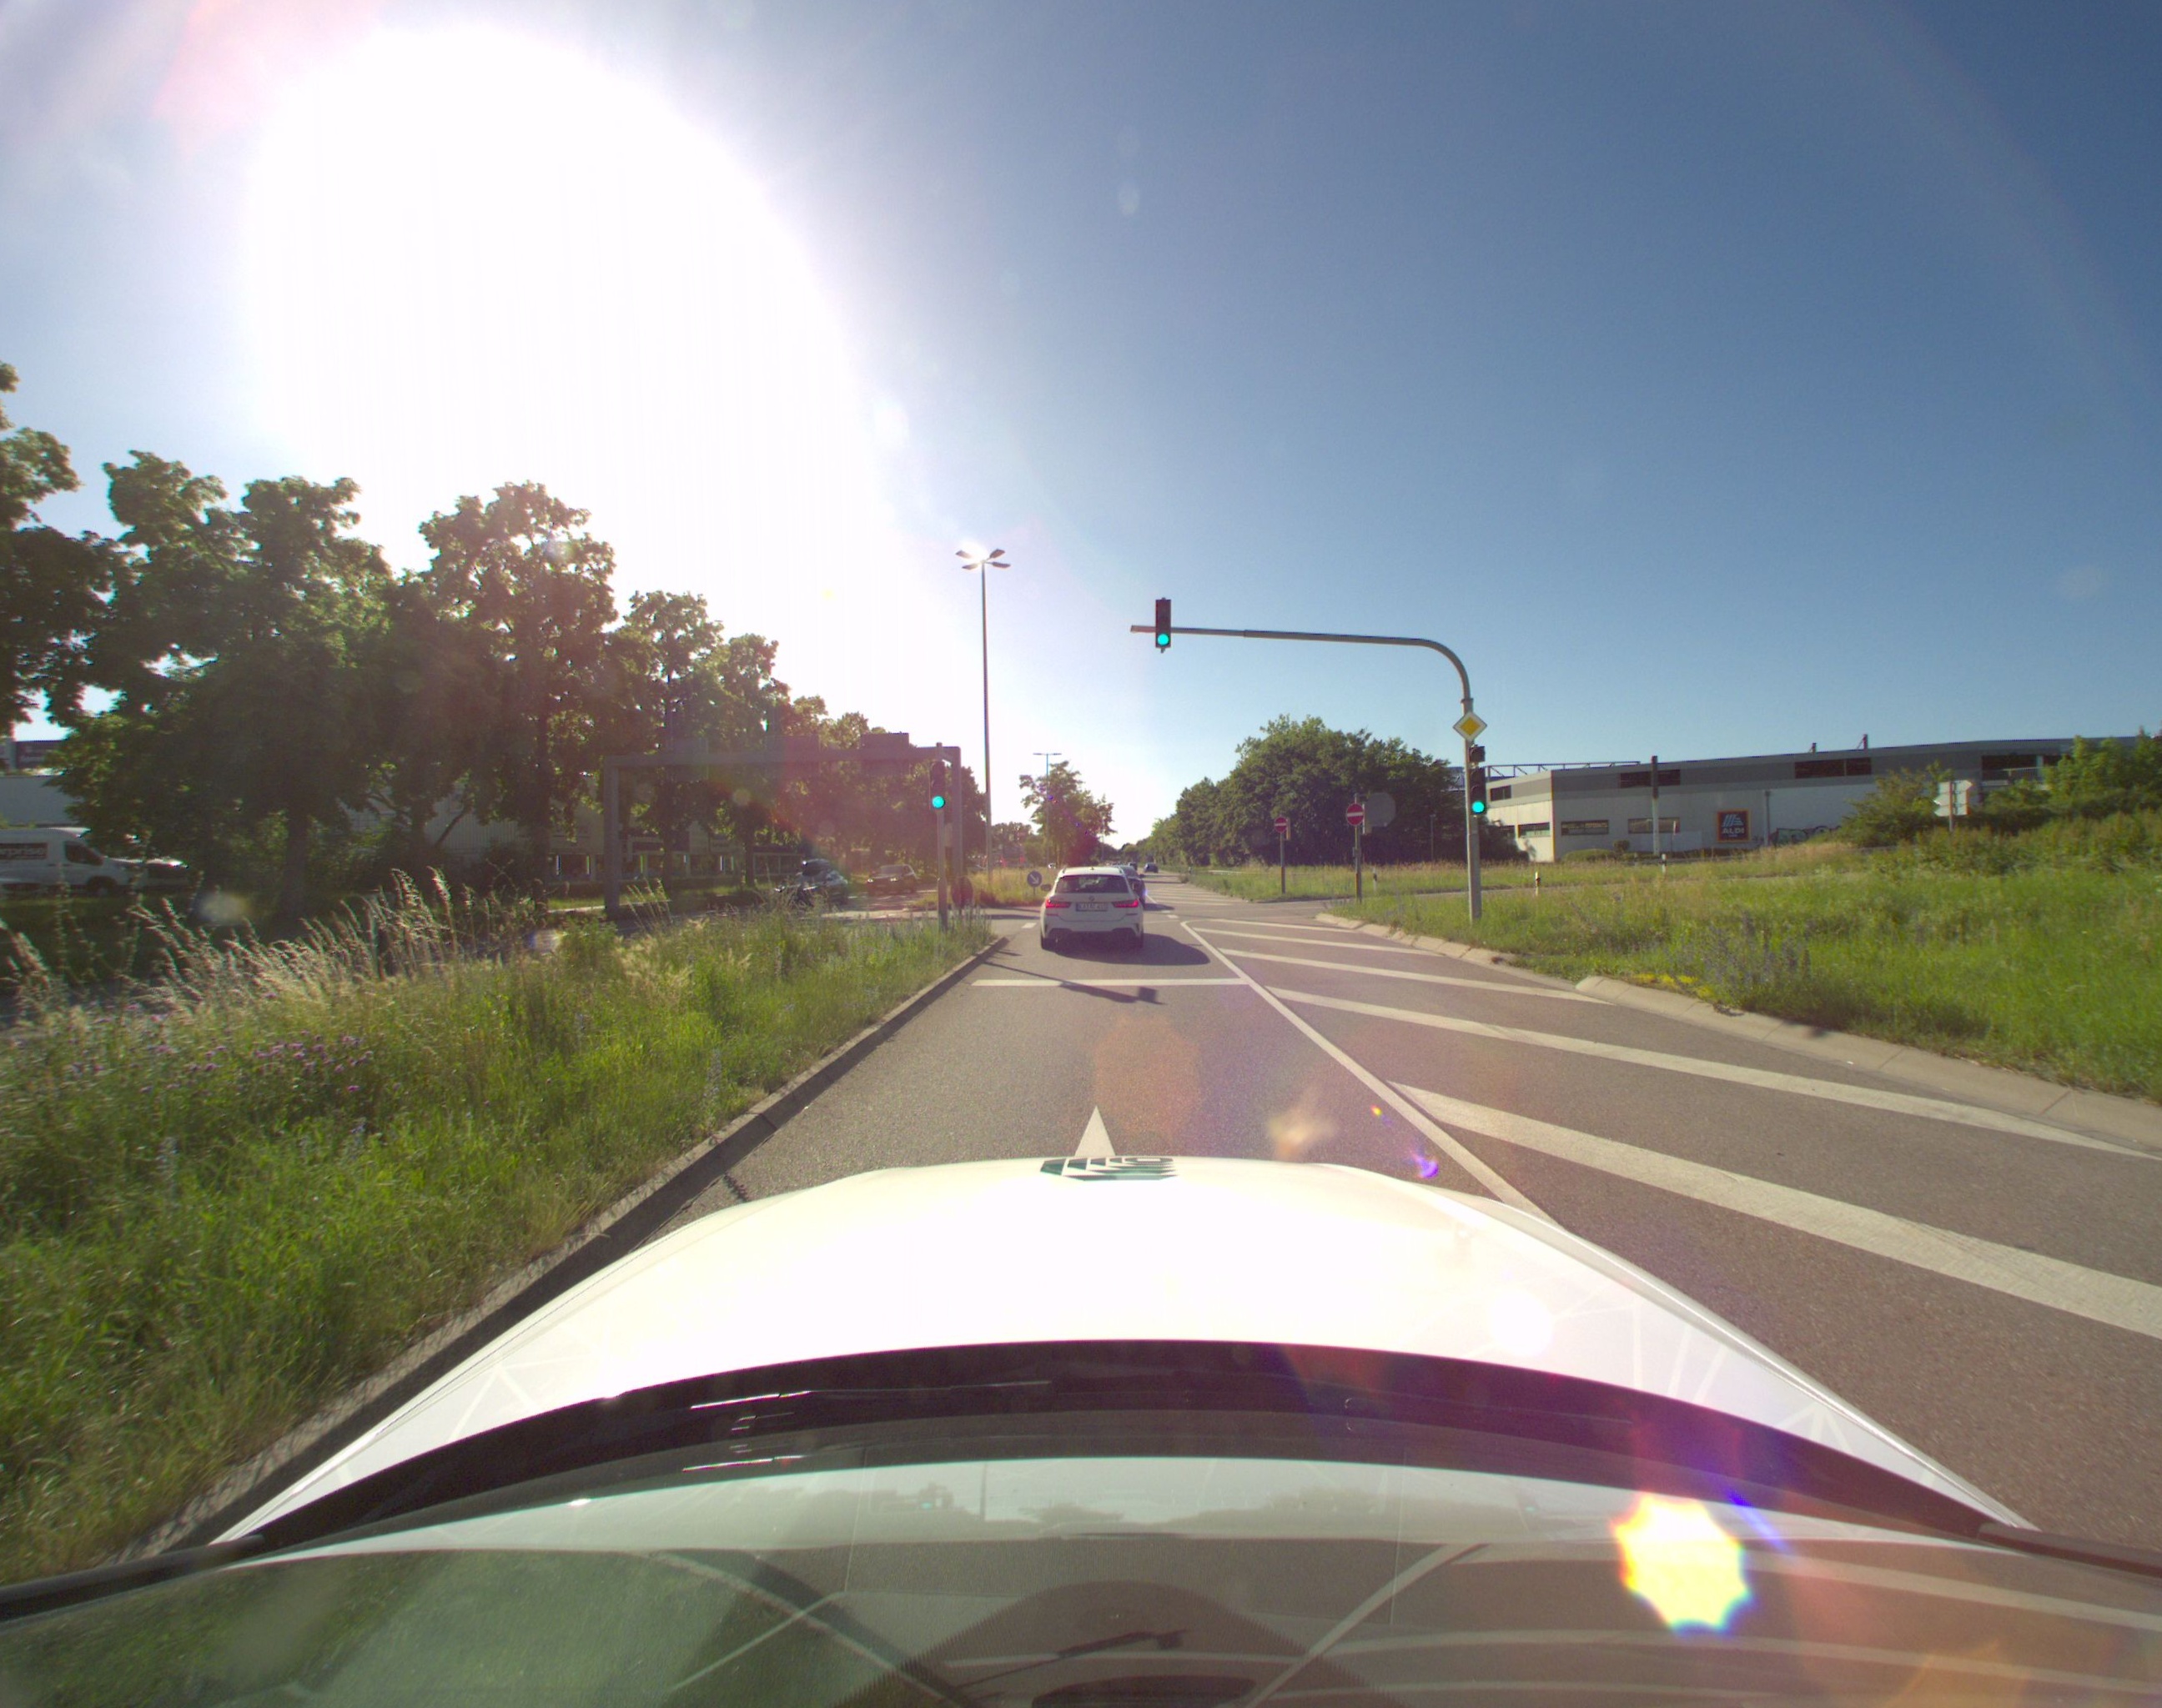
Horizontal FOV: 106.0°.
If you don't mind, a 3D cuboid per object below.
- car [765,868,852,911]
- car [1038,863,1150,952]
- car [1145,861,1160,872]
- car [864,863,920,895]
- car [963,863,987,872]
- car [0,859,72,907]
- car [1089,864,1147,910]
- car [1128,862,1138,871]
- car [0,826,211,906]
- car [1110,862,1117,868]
[{"bbox_3d":[-11.204,1.408,33.816,1.869,1.543,4.574,-3,-1,2],"label":"car"},{"bbox_3d":[0.311,0.911,15.738,1.854,1.455,4.550,0,0,2],"label":"car"},{"bbox_3d":[10.295,1.792,117.500,1.855,1.499,4.337,-1,-1,1],"label":"car"},{"bbox_3d":[-11.000,1.422,47.727,1.935,1.697,4.631,-3,0,2],"label":"car"},{"bbox_3d":[-19.984,2.499,153.225,4.092,1.662,1.895,-2,0,4],"label":"car"},{"bbox_3d":[-33.463,0.905,24.300,4.107,1.388,1.945,-2,-1,-2],"label":"car"},{"bbox_3d":[1.288,1.106,29.026,1.855,1.455,4.549,-1,-1,2],"label":"car"},{"bbox_3d":[9.560,2.277,149.905,1.766,1.555,3.833,-1,0,0],"label":"car"},{"bbox_3d":[-32.954,0.411,26.894,5.862,2.433,2.205,-2,-1,-2],"label":"car"},{"bbox_3d":[9.201,2.954,227.572,1.855,1.565,4.549,-1,-1,2],"label":"car"}]
